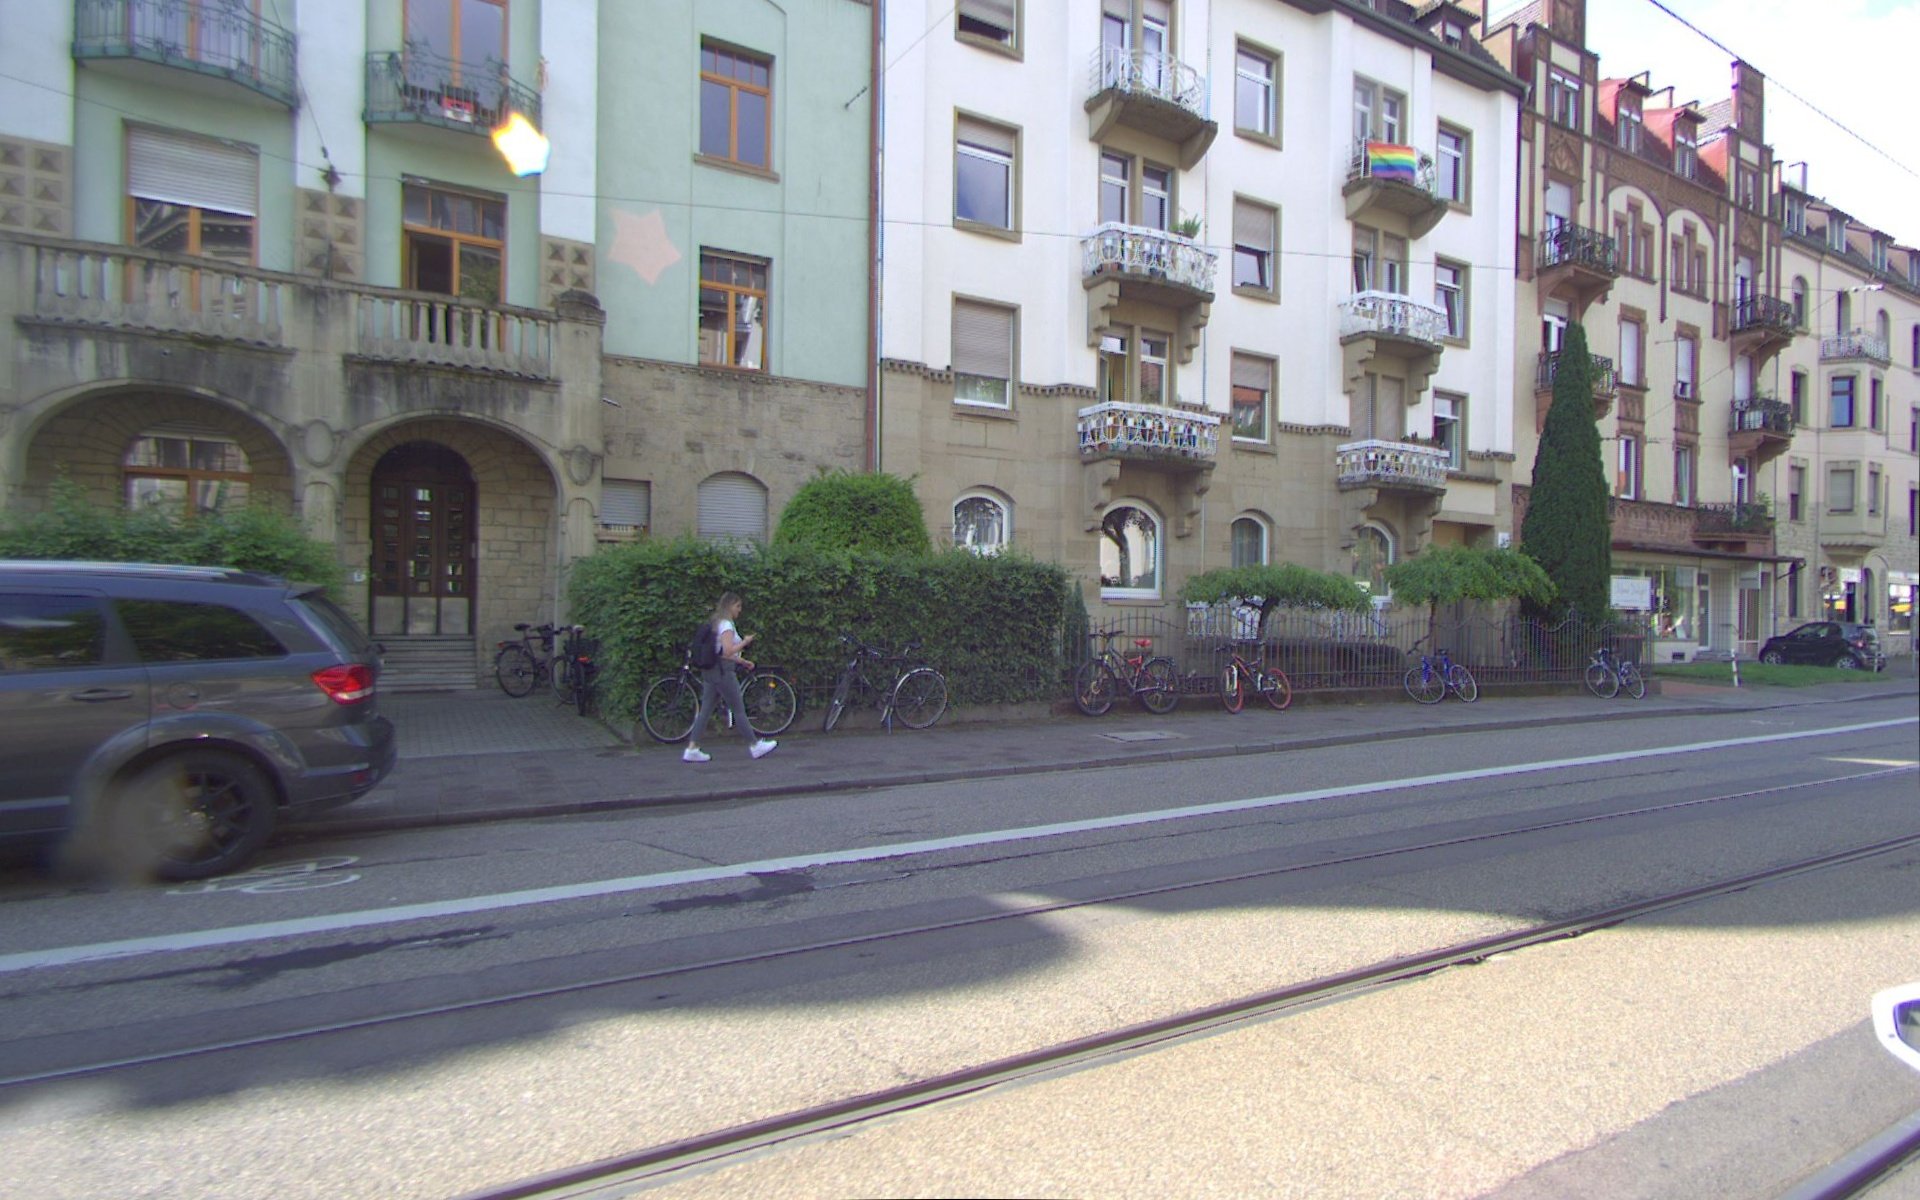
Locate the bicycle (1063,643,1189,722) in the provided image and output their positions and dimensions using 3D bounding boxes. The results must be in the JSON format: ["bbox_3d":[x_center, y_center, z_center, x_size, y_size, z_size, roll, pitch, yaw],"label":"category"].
[{"bbox_3d":[2.229,1.083,13.400,1.778,0.972,0.381,1,1,-29],"label":"bicycle"}]

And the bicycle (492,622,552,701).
[{"bbox_3d":[-6.222,0.851,14.316,0.387,1.004,1.396,2,1,-7],"label":"bicycle"}]

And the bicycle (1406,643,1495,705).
[{"bbox_3d":[8.169,1.215,16.710,1.684,0.972,0.424,1,1,-28],"label":"bicycle"}]

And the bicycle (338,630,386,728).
[{"bbox_3d":[-6.988,0.879,11.774,0.379,0.972,1.907,1,1,-28],"label":"bicycle"}]

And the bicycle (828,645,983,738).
[{"bbox_3d":[-0.612,1.036,11.642,1.780,0.972,0.449,1,1,-31],"label":"bicycle"}]

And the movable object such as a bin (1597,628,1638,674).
[{"bbox_3d":[16.440,1.259,25.111,0.595,1.084,0.597,2,2,4],"label":"movable object such as a bin"}]

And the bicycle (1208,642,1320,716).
[{"bbox_3d":[4.410,1.122,14.527,1.778,0.988,0.381,1,1,-29],"label":"bicycle"}]

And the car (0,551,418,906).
[{"bbox_3d":[-5.766,0.647,5.494,4.829,1.786,1.775,1,-1,-33],"label":"car"}]

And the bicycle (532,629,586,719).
[{"bbox_3d":[-5.103,0.908,12.750,0.390,1.004,1.386,1,2,-31],"label":"bicycle"}]

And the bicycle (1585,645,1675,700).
[{"bbox_3d":[12.954,1.406,19.409,1.789,0.972,0.510,3,1,-23],"label":"bicycle"}]

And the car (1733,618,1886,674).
[{"bbox_3d":[26.340,1.386,31.250,1.657,1.533,3.225,1,1,-26],"label":"car"}]

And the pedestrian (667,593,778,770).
[{"bbox_3d":[-2.271,0.741,9.583,0.871,1.589,0.677,1,1,-28],"label":"pedestrian"}]

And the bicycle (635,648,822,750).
[{"bbox_3d":[-2.431,1.021,10.650,1.897,0.972,0.381,1,1,-29],"label":"bicycle"}]
